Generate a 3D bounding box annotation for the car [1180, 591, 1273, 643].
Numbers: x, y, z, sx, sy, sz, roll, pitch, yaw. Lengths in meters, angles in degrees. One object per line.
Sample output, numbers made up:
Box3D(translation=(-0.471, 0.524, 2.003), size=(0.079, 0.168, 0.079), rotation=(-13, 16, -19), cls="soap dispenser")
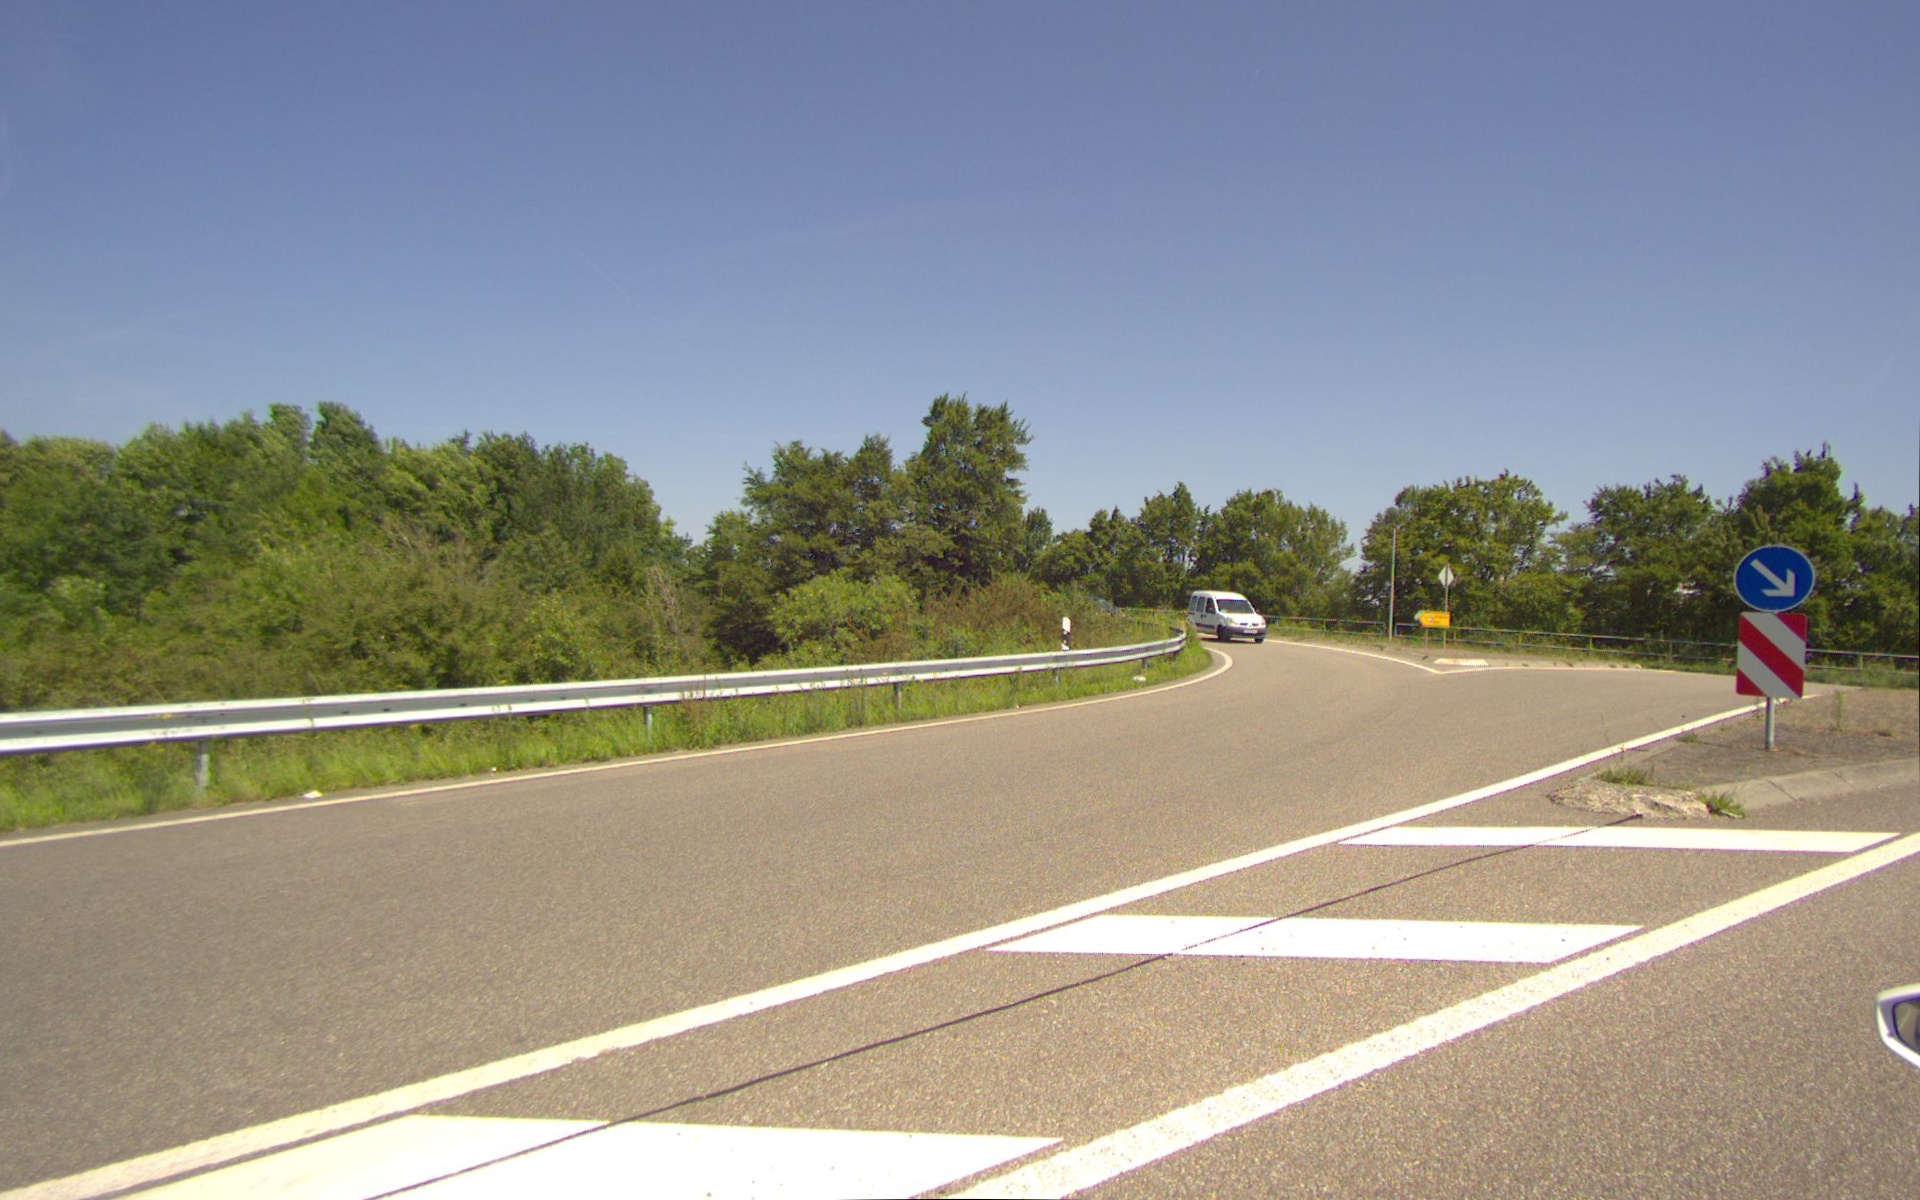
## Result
Box3D(translation=(9.647, 0.563, 36.705), size=(1.711, 1.785, 4.075), rotation=(0, 0, -10), cls="car")
